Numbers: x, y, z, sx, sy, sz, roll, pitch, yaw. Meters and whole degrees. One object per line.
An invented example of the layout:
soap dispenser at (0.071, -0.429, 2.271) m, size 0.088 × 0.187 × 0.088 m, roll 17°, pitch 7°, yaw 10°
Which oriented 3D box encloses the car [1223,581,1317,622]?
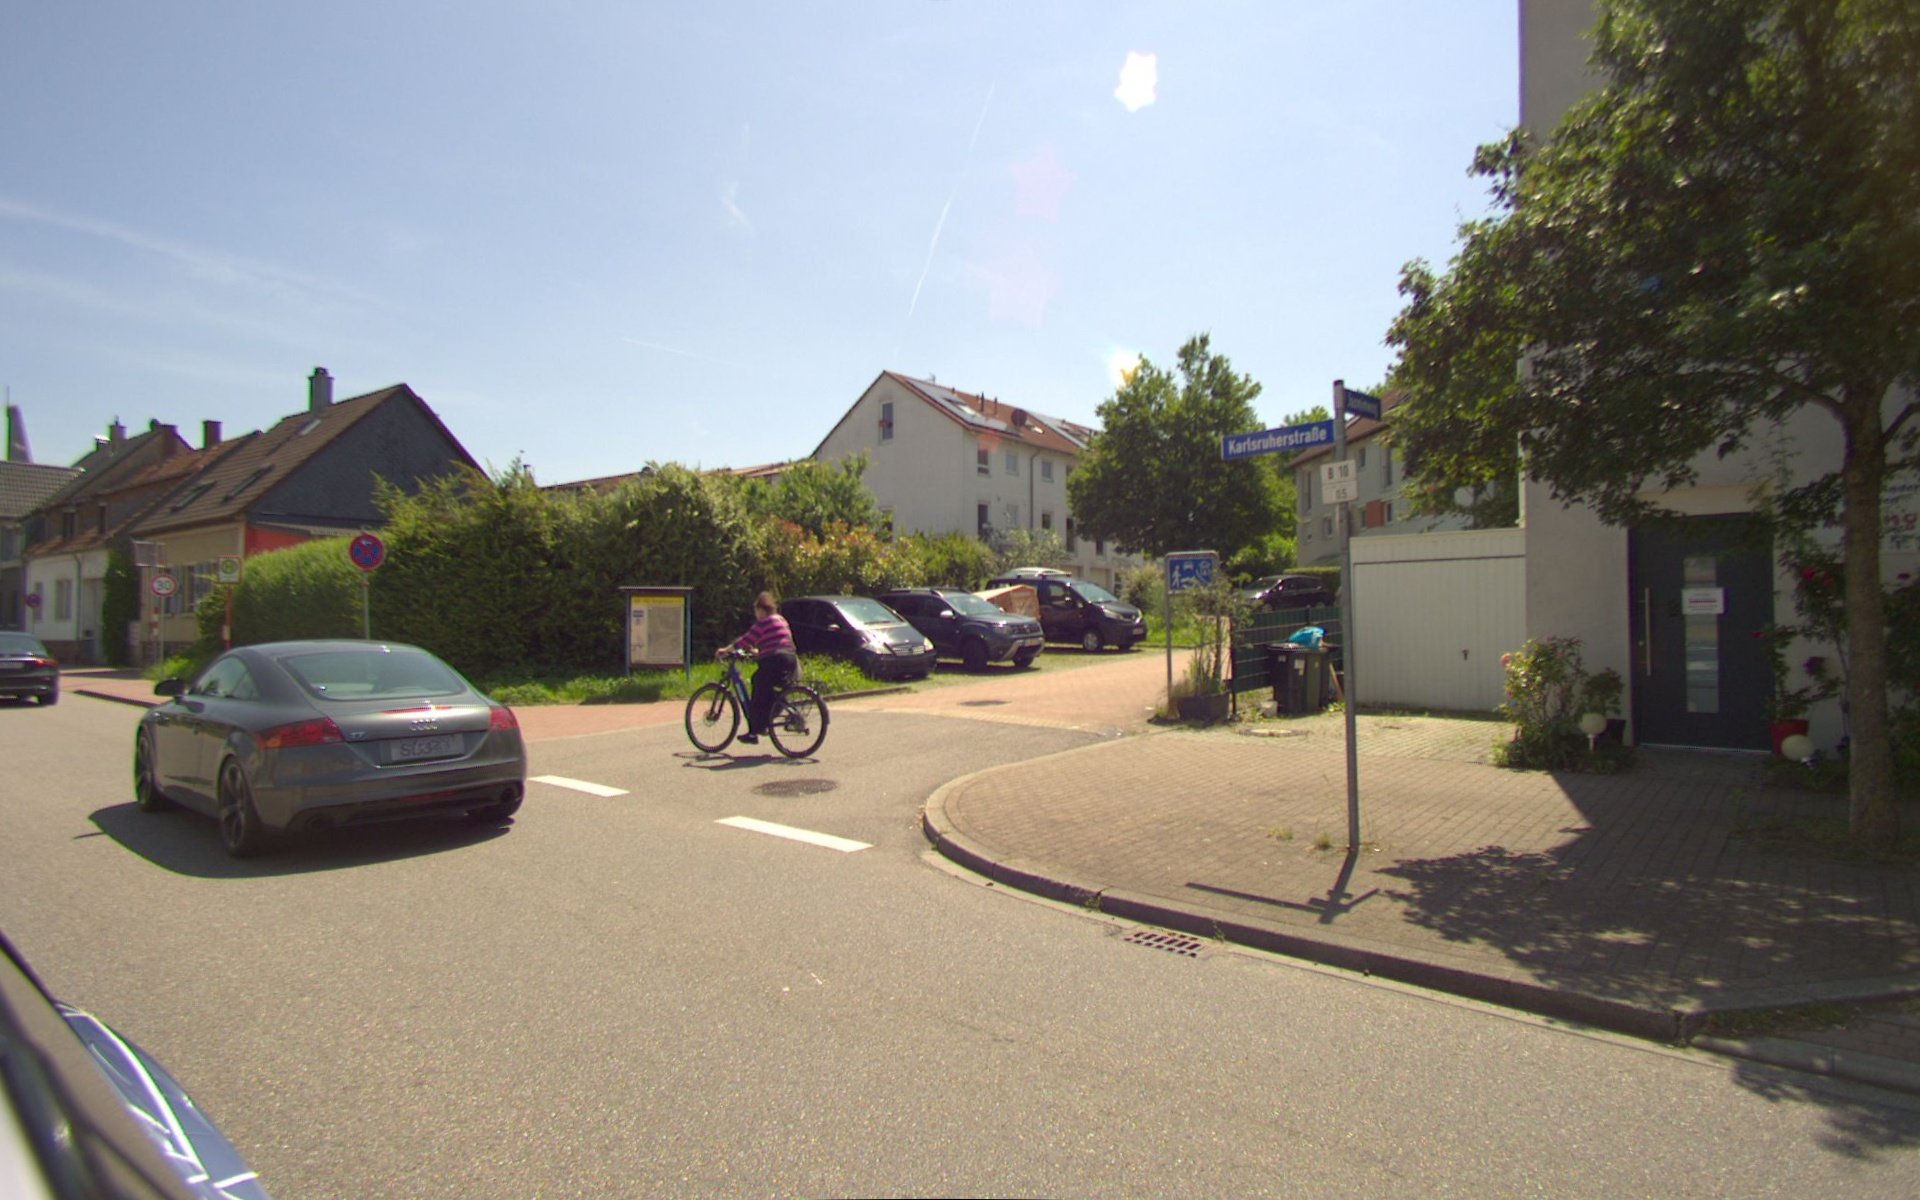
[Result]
car at (11.643, 0.041, 37.918) m, size 3.580 × 1.463 × 1.595 m, roll -1°, pitch -1°, yaw -38°

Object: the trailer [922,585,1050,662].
trailer at (0.608, 0.564, 24.155) m, size 2.688 × 1.676 × 1.413 m, roll -2°, pitch 2°, yaw 37°

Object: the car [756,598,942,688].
car at (-2.220, 0.792, 19.719) m, size 3.653 × 1.552 × 1.605 m, roll -1°, pitch 1°, yaw 44°

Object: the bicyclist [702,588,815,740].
bicyclist at (-2.083, 0.642, 10.505) m, size 0.903 × 1.505 × 0.656 m, roll -2°, pitch 0°, yaw 22°

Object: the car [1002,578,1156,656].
car at (2.922, 0.407, 25.318) m, size 3.552 × 1.794 × 1.605 m, roll -1°, pitch 1°, yaw 44°

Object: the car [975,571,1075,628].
car at (2.152, -0.045, 32.838) m, size 1.419 × 1.747 × 3.594 m, roll -1°, pitch 0°, yaw 38°

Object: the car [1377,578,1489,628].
car at (14.947, 0.068, 31.880) m, size 3.937 × 1.439 × 1.695 m, roll -2°, pitch 0°, yaw -41°

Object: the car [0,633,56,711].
car at (-19.961, 1.403, 20.572) m, size 4.691 × 1.471 × 1.712 m, roll -2°, pitch -3°, yaw 40°

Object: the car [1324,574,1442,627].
car at (14.226, -0.029, 33.951) m, size 3.933 × 1.635 × 1.754 m, roll -2°, pitch 1°, yaw -33°

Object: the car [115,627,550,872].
car at (-4.871, 0.940, 7.651) m, size 3.866 × 1.381 × 1.688 m, roll -2°, pitch -5°, yaw 41°

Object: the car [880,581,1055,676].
car at (0.097, 0.573, 21.320) m, size 3.511 × 1.793 × 1.605 m, roll -1°, pitch 1°, yaw 44°

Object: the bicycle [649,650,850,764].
bicycle at (-2.206, 1.082, 10.564) m, size 2.013 × 1.064 × 0.668 m, roll -1°, pitch 1°, yaw 23°
